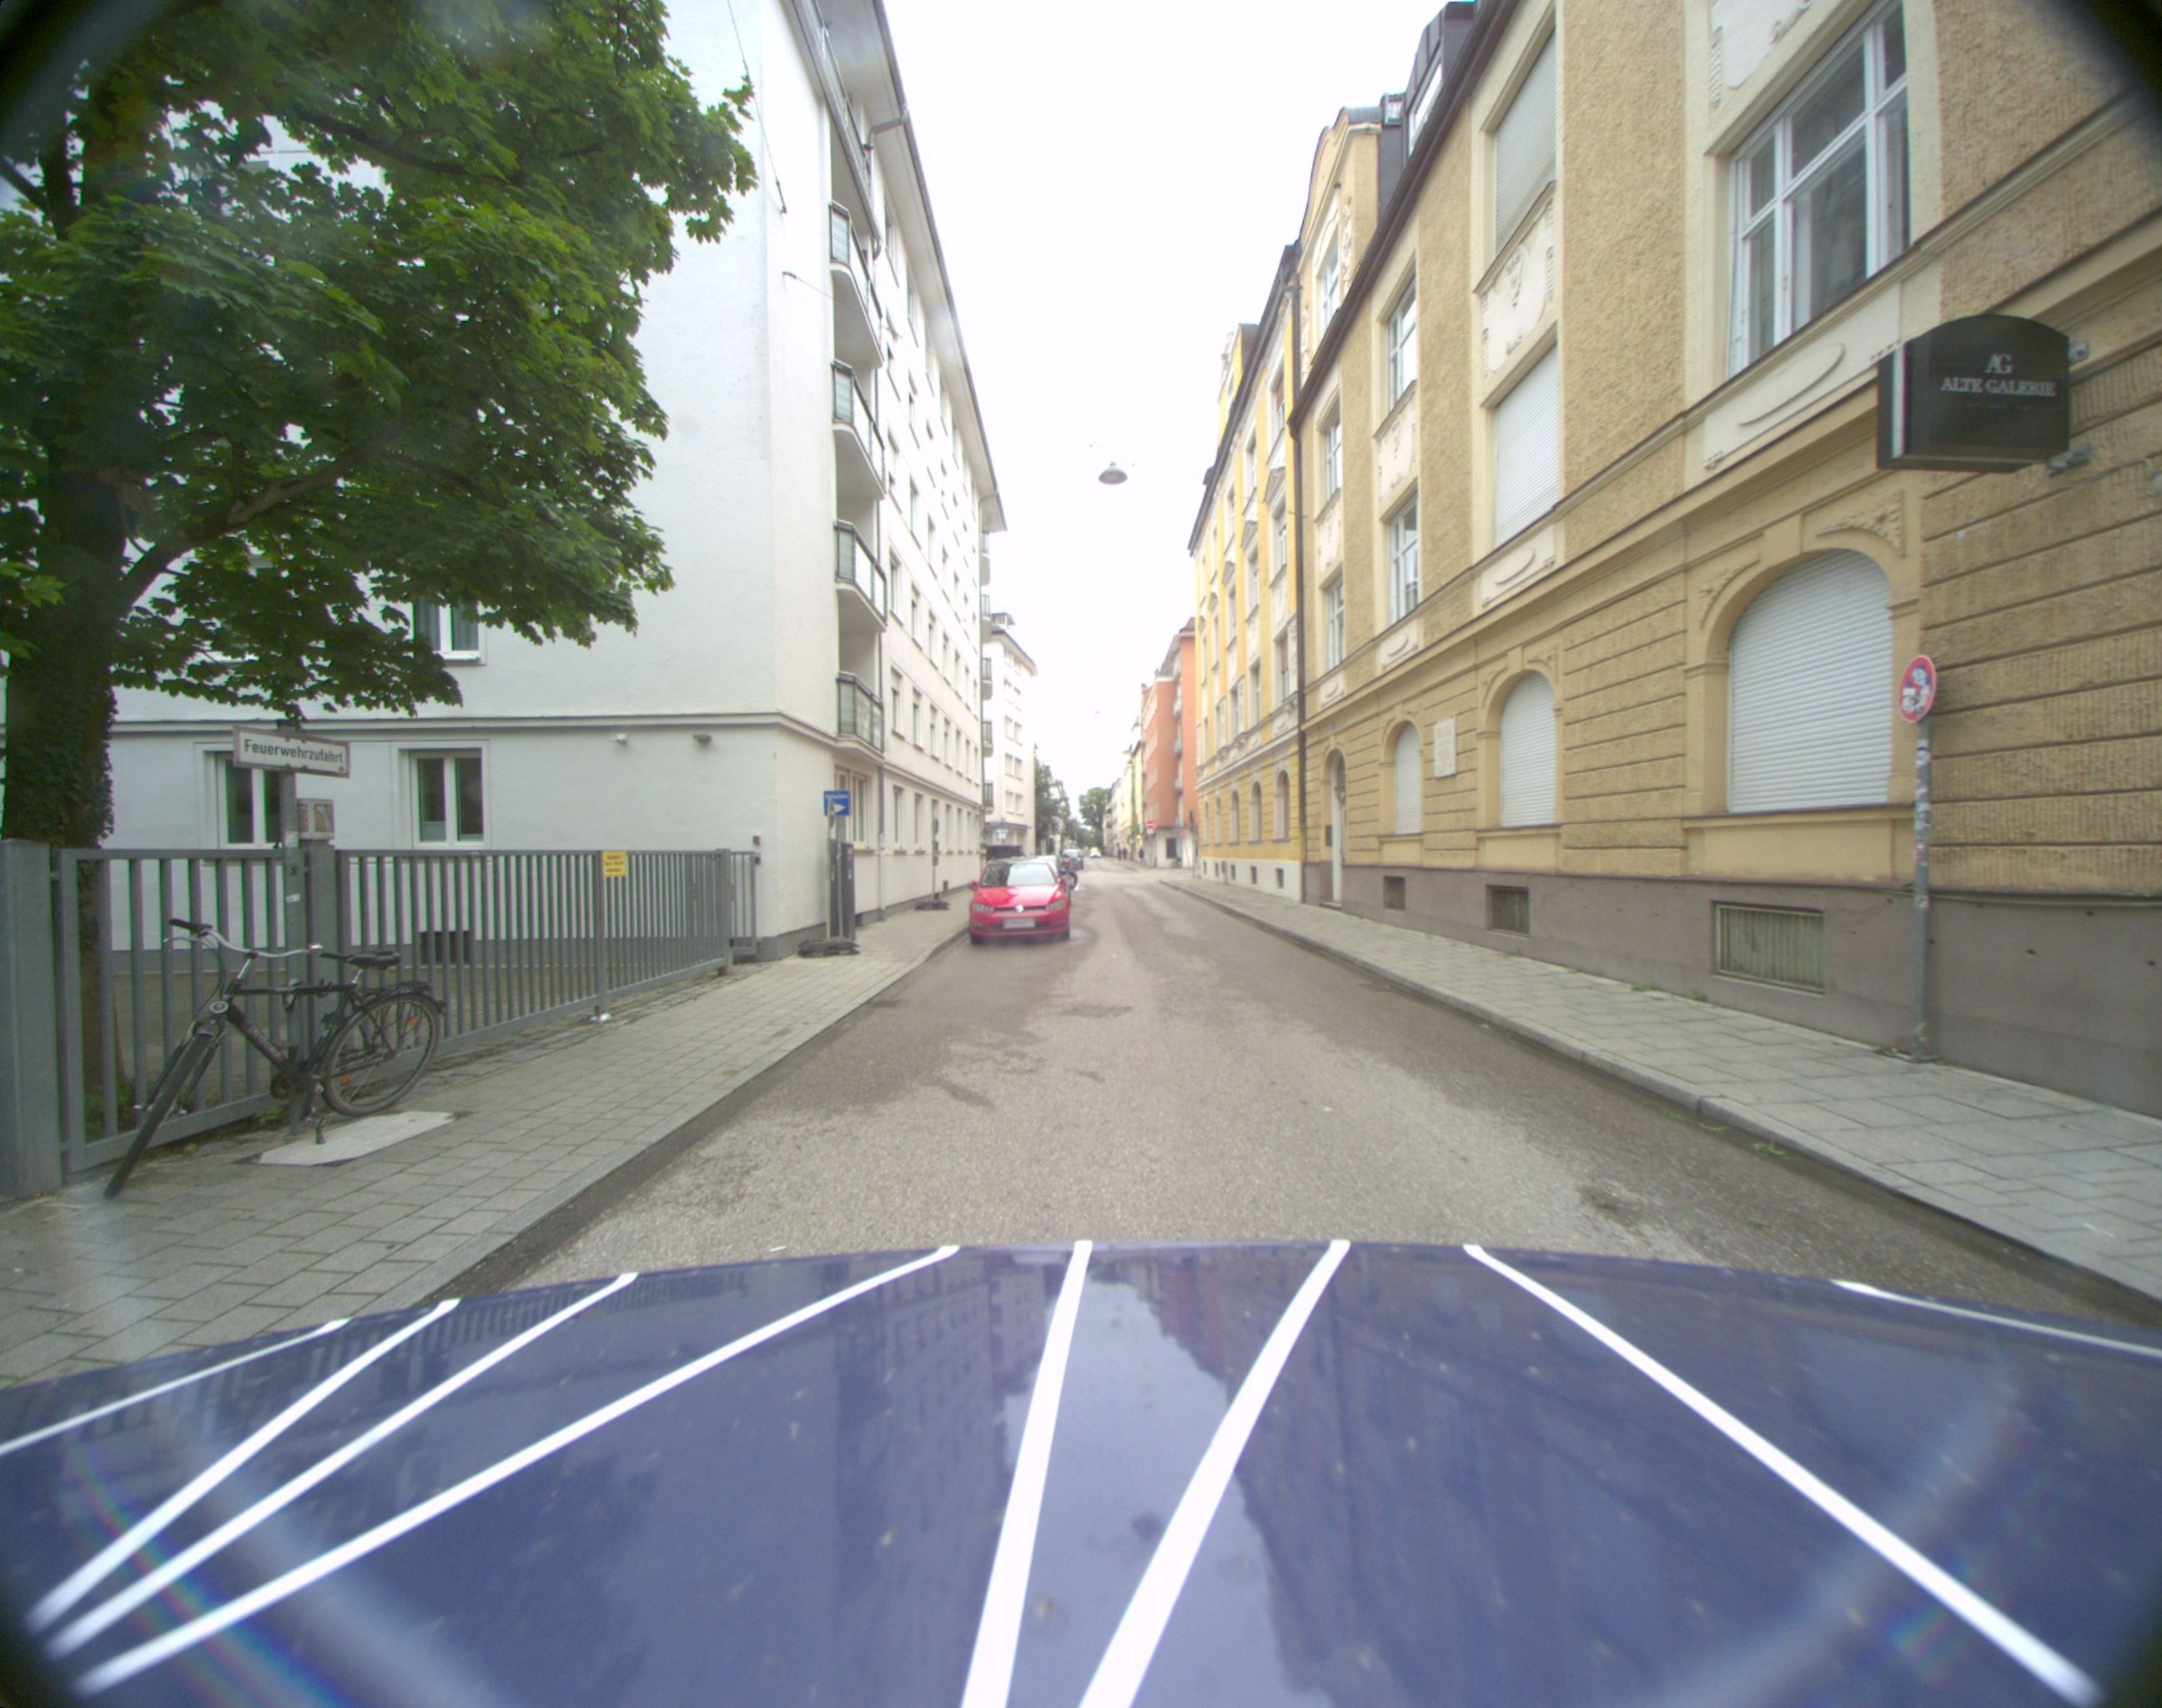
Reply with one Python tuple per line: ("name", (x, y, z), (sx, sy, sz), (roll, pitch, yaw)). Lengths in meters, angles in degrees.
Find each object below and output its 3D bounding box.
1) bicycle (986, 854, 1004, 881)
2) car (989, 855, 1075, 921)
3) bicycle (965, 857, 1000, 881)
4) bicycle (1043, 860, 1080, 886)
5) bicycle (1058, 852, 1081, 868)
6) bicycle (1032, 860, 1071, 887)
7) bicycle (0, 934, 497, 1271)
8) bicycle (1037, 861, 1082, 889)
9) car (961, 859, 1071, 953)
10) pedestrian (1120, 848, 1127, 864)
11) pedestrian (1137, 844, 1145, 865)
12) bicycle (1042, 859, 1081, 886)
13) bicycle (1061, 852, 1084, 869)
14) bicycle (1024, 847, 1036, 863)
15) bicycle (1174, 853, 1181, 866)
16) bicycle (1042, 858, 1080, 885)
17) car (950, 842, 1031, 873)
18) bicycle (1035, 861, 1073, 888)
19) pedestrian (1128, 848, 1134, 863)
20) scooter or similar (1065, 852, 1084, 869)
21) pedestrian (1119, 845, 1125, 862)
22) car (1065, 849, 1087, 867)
("bicycle", (-4.088, 0.633, 35.962), (0.399, 1.198, 1.502), (1, 1, -24))
("car", (-1.167, 0.803, 20.092), (1.799, 1.430, 4.383), (-2, 1, 2))
("bicycle", (-4.424, 0.689, 34.116), (1.502, 1.038, 0.398), (1, 2, -18))
("bicycle", (-0.806, 0.792, 31.567), (1.441, 1.038, 0.360), (2, 2, 9))
("bicycle", (-0.839, 0.439, 55.339), (1.608, 1.207, 0.529), (0, 1, 3))
("bicycle", (-1.219, 0.789, 31.233), (1.520, 1.038, 0.360), (2, 2, 8))
("bicycle", (-4.086, 1.073, 3.908), (0.709, 1.191, 1.834), (-1, -2, 1))
("bicycle", (-0.840, 0.813, 29.851), (1.707, 1.038, 0.360), (1, 2, 1))
("car", (-1.273, 0.879, 14.811), (1.766, 1.438, 4.296), (-2, 1, -5))
("pedestrian", (5.040, 0.238, 90.574), (0.726, 1.783, 0.830), (0, 1, 1))
("pedestrian", (4.888, 0.014, 62.009), (0.613, 1.684, 0.565), (0, 1, 0))
("bicycle", (-0.844, 0.786, 33.238), (1.699, 1.154, 0.378), (-1, 1, 0))
("bicycle", (-0.611, 0.447, 54.765), (1.608, 1.207, 0.529), (0, 1, 3))
("bicycle", (-3.872, 0.087, 57.649), (0.528, 1.207, 1.610), (0, 1, 8))
("bicycle", (7.059, 0.365, 55.580), (0.391, 0.932, 1.540), (0, 1, 1))
("bicycle", (-0.880, 0.780, 33.637), (1.699, 1.154, 0.378), (-1, 1, 0))
("car", (-5.595, 0.235, 47.404), (4.676, 1.880, 1.935), (0, 0, 9))
("bicycle", (-1.084, 0.805, 30.319), (1.438, 1.038, 0.330), (2, 2, 9))
("pedestrian", (5.939, 0.225, 90.787), (0.699, 1.783, 0.763), (0, 1, 1))
("scooter or similar", (-0.466, 0.469, 53.338), (1.340, 1.207, 0.344), (0, 1, 3))
("pedestrian", (4.912, -0.060, 90.438), (0.635, 2.002, 0.788), (1, 1, 1))
("car", (-0.360, 0.282, 61.159), (1.653, 1.391, 3.999), (0, 1, 1))
